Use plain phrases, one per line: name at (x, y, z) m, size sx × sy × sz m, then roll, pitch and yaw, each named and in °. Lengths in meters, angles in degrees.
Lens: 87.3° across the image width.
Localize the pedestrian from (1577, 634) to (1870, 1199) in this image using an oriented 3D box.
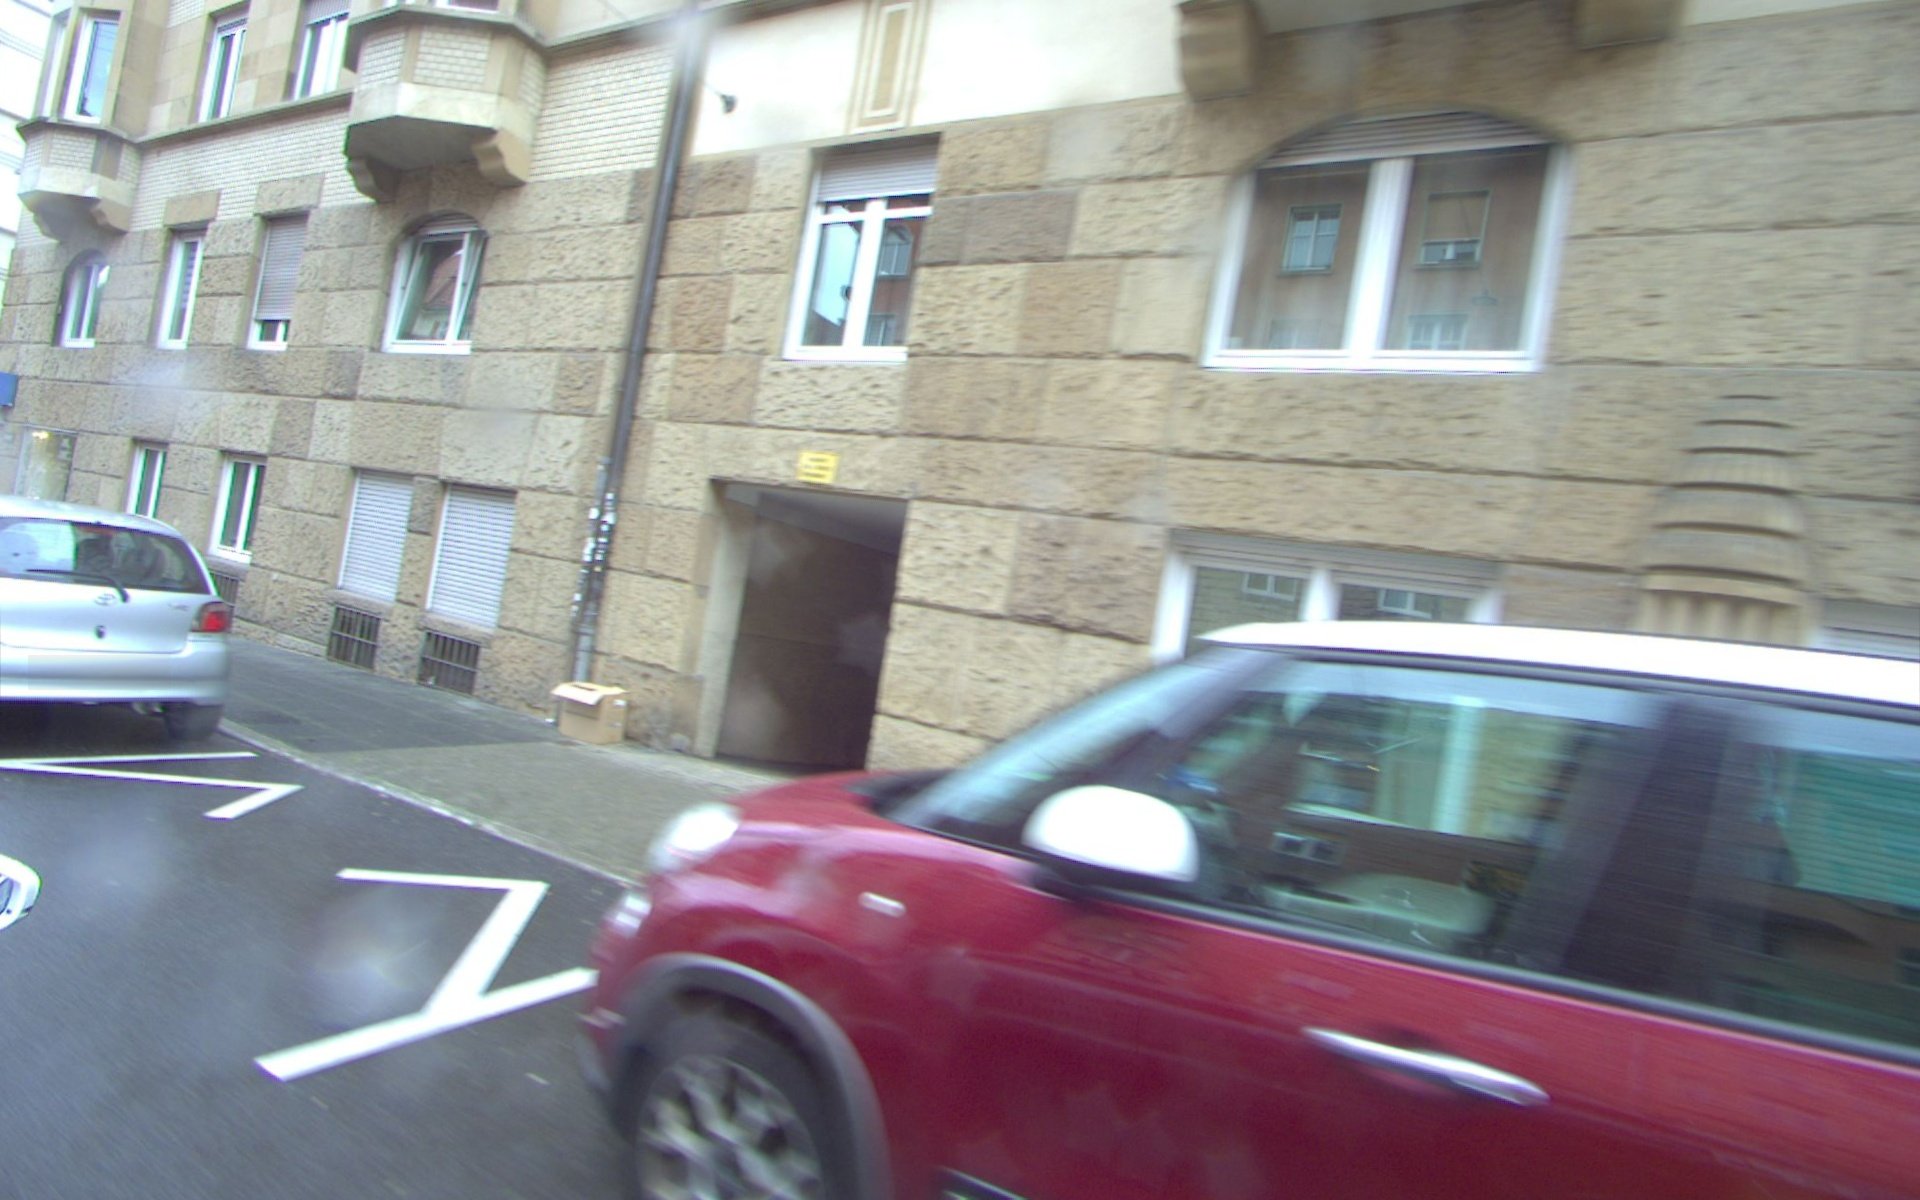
pedestrian at (2.732, 1.069, 3.695) m, size 0.599 × 1.752 × 0.864 m, roll 7°, pitch -2°, yaw 31°

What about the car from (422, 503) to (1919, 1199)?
car at (0.941, 0.892, 2.201) m, size 3.931 × 1.646 × 1.716 m, roll 7°, pitch -3°, yaw 29°

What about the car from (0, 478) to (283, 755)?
car at (-6.584, -0.009, 7.052) m, size 3.408 × 1.560 × 1.642 m, roll 7°, pitch -2°, yaw 32°
